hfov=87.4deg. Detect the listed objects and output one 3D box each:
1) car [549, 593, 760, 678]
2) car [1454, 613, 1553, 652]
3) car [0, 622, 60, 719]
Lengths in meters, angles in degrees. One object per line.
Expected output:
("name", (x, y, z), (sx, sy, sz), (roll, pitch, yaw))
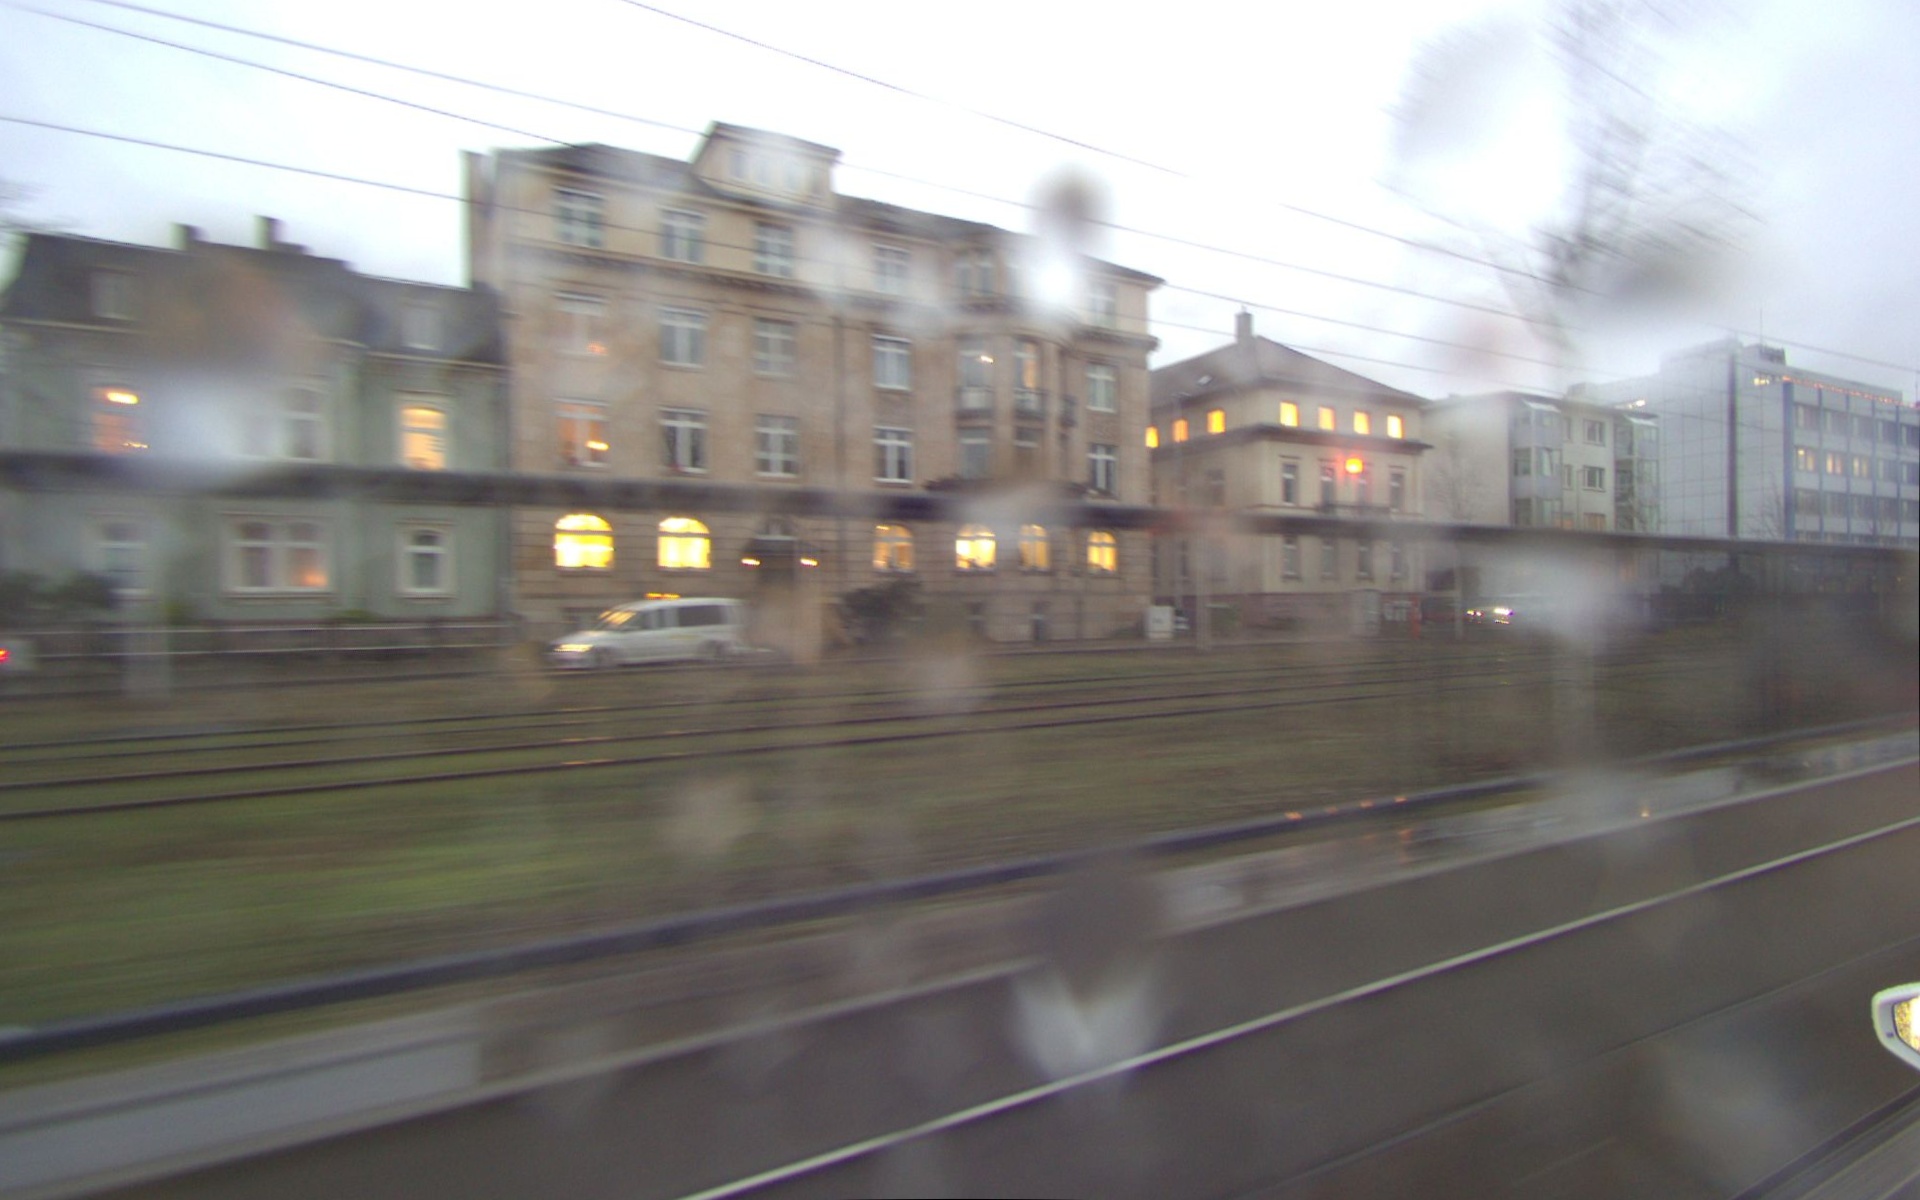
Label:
("car", (-7.803, 0.853, 25.802), (4.856, 1.958, 1.983), (-1, -1, -32))
("car", (25.012, 1.476, 46.204), (4.375, 1.653, 1.985), (0, 0, -29))
("car", (-18.855, 1.299, 17.840), (4.072, 1.715, 1.980), (-1, -1, -37))
